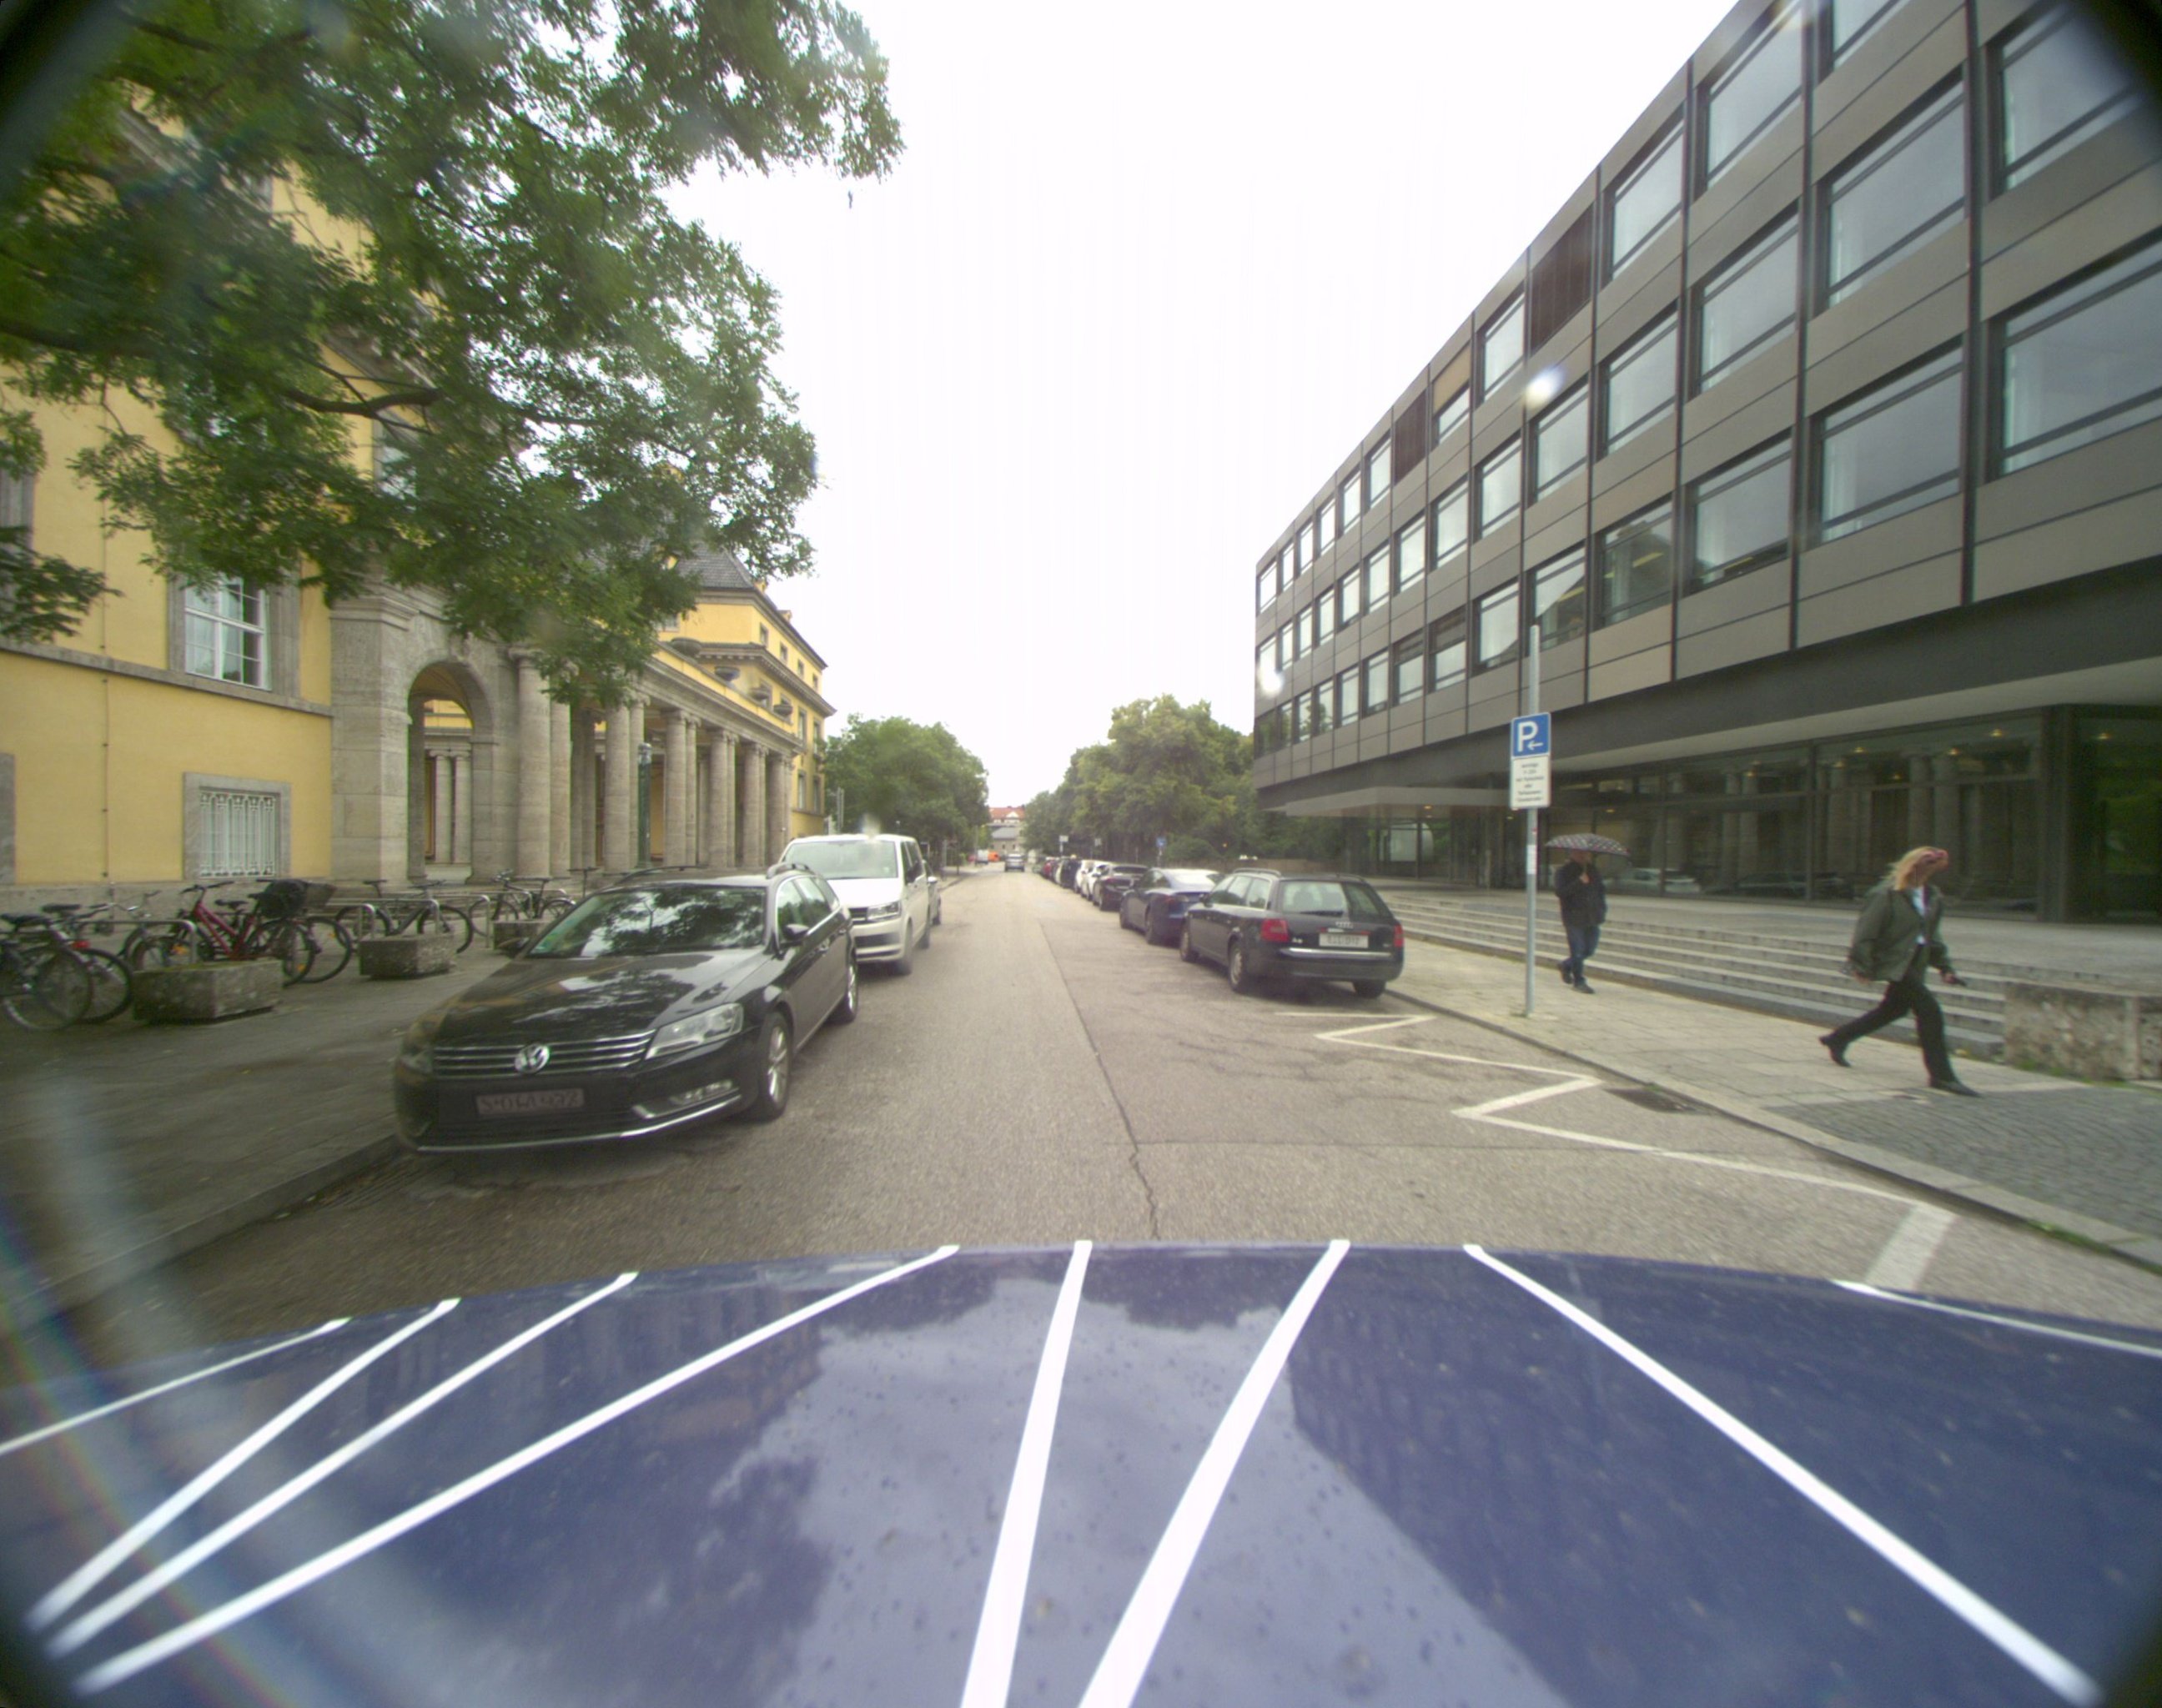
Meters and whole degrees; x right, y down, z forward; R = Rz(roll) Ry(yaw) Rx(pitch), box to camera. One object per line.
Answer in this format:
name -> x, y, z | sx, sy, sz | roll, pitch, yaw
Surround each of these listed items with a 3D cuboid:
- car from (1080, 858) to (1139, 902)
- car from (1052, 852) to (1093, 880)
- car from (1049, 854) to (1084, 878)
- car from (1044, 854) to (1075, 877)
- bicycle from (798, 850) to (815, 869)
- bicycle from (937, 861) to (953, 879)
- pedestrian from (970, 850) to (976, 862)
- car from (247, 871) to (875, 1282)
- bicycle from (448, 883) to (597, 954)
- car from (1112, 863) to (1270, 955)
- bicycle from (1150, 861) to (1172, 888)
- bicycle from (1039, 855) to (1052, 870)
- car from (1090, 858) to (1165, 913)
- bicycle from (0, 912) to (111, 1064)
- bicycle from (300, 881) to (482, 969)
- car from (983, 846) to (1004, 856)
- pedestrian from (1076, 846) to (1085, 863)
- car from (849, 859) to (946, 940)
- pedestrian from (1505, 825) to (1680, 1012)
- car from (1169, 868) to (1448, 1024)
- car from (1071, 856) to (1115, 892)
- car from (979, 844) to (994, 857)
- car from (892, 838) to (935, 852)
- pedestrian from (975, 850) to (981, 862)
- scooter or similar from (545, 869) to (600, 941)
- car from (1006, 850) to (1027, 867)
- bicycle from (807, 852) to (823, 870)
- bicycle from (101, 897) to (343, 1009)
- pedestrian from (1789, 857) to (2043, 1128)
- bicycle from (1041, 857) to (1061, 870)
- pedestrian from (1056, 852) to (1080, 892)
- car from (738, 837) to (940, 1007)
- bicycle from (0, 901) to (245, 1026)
car -> 0.994, 0.919, 28.895 | 1.686, 1.432, 4.277 | 3, 0, -5
car -> -0.563, 0.686, 45.416 | 2.000, 1.574, 4.519 | 1, 0, -6
car -> -1.018, 0.784, 50.709 | 1.999, 1.452, 4.645 | 1, 0, -5
car -> -1.614, 0.817, 55.676 | 1.999, 1.535, 4.362 | 1, 0, -5
bicycle -> -19.159, 0.386, 53.055 | 0.601, 1.299, 2.262 | 1, 1, -5
bicycle -> -8.661, 1.011, 48.430 | 0.762, 1.094, 2.262 | 2, 0, -6
pedestrian -> -16.743, 0.324, 118.129 | 0.778, 1.855, 0.996 | -3, 2, -14
car -> -2.822, 0.974, 5.695 | 1.777, 1.481, 4.969 | -2, 1, -8
bicycle -> -9.060, 1.049, 12.375 | 1.938, 1.107, 0.471 | 1, 1, -8
car -> 2.020, 0.990, 15.605 | 1.929, 1.431, 4.914 | 2, 1, -7
bicycle -> 3.716, 0.934, 35.286 | 0.645, 1.158, 1.526 | -2, 1, -7
bicycle -> -3.206, 0.761, 69.054 | 0.574, 1.275, 1.421 | -1, 1, 27
car -> 1.364, 0.912, 23.873 | 1.745, 1.452, 4.234 | 2, 0, -4
bicycle -> -8.901, 1.011, 5.823 | 2.038, 1.107, 0.471 | 1, 1, -8
bicycle -> -9.253, 0.951, 10.231 | 1.937, 1.107, 0.471 | 1, 1, -3
car -> -22.957, -0.723, 199.048 | 4.973, 2.521, 2.578 | -1, 2, 38
pedestrian -> -0.045, 0.038, 79.101 | 0.798, 1.722, 0.660 | -3, 2, -7
car -> -3.939, 0.918, 16.715 | 1.610, 1.537, 2.932 | -2, 1, -5
pedestrian -> 5.959, 0.711, 8.949 | 1.139, 2.043, 1.220 | 1, 1, -6
car -> 2.676, 1.014, 10.384 | 1.999, 1.482, 4.881 | 2, 0, -4
car -> 0.476, 0.859, 34.436 | 1.548, 1.462, 3.551 | 2, 0, -6
car -> -17.039, -0.678, 136.496 | 2.237, 2.289, 4.725 | -3, 1, -11
car -> -19.990, -1.069, 90.729 | 4.911, 1.672, 1.965 | 1, 1, -8
pedestrian -> -15.967, 0.289, 118.214 | 0.777, 1.855, 0.996 | -3, 2, -12
scooter or similar -> -9.144, 0.895, 13.662 | 1.009, 1.215, 0.539 | 2, 1, 39
car -> -6.516, 0.462, 77.589 | 2.030, 1.679, 4.675 | 1, 0, -4
bicycle -> -19.383, 0.482, 55.403 | 0.601, 1.299, 2.163 | 1, 1, -6
bicycle -> -9.107, 1.041, 8.092 | 1.937, 1.107, 0.471 | 1, 1, -3
pedestrian -> 5.906, 0.912, 5.445 | 0.754, 1.739, 0.953 | -2, 1, 1
bicycle -> -2.704, 0.846, 67.571 | 1.701, 1.101, 0.598 | -1, 1, -14
pedestrian -> -0.589, 0.793, 34.090 | 0.893, 1.741, 0.689 | 2, 0, -14
car -> -3.344, 0.782, 11.648 | 1.851, 1.922, 5.269 | -3, 1, -6
bicycle -> -9.301, 1.037, 7.281 | 1.937, 1.107, 0.471 | 1, 1, -4
